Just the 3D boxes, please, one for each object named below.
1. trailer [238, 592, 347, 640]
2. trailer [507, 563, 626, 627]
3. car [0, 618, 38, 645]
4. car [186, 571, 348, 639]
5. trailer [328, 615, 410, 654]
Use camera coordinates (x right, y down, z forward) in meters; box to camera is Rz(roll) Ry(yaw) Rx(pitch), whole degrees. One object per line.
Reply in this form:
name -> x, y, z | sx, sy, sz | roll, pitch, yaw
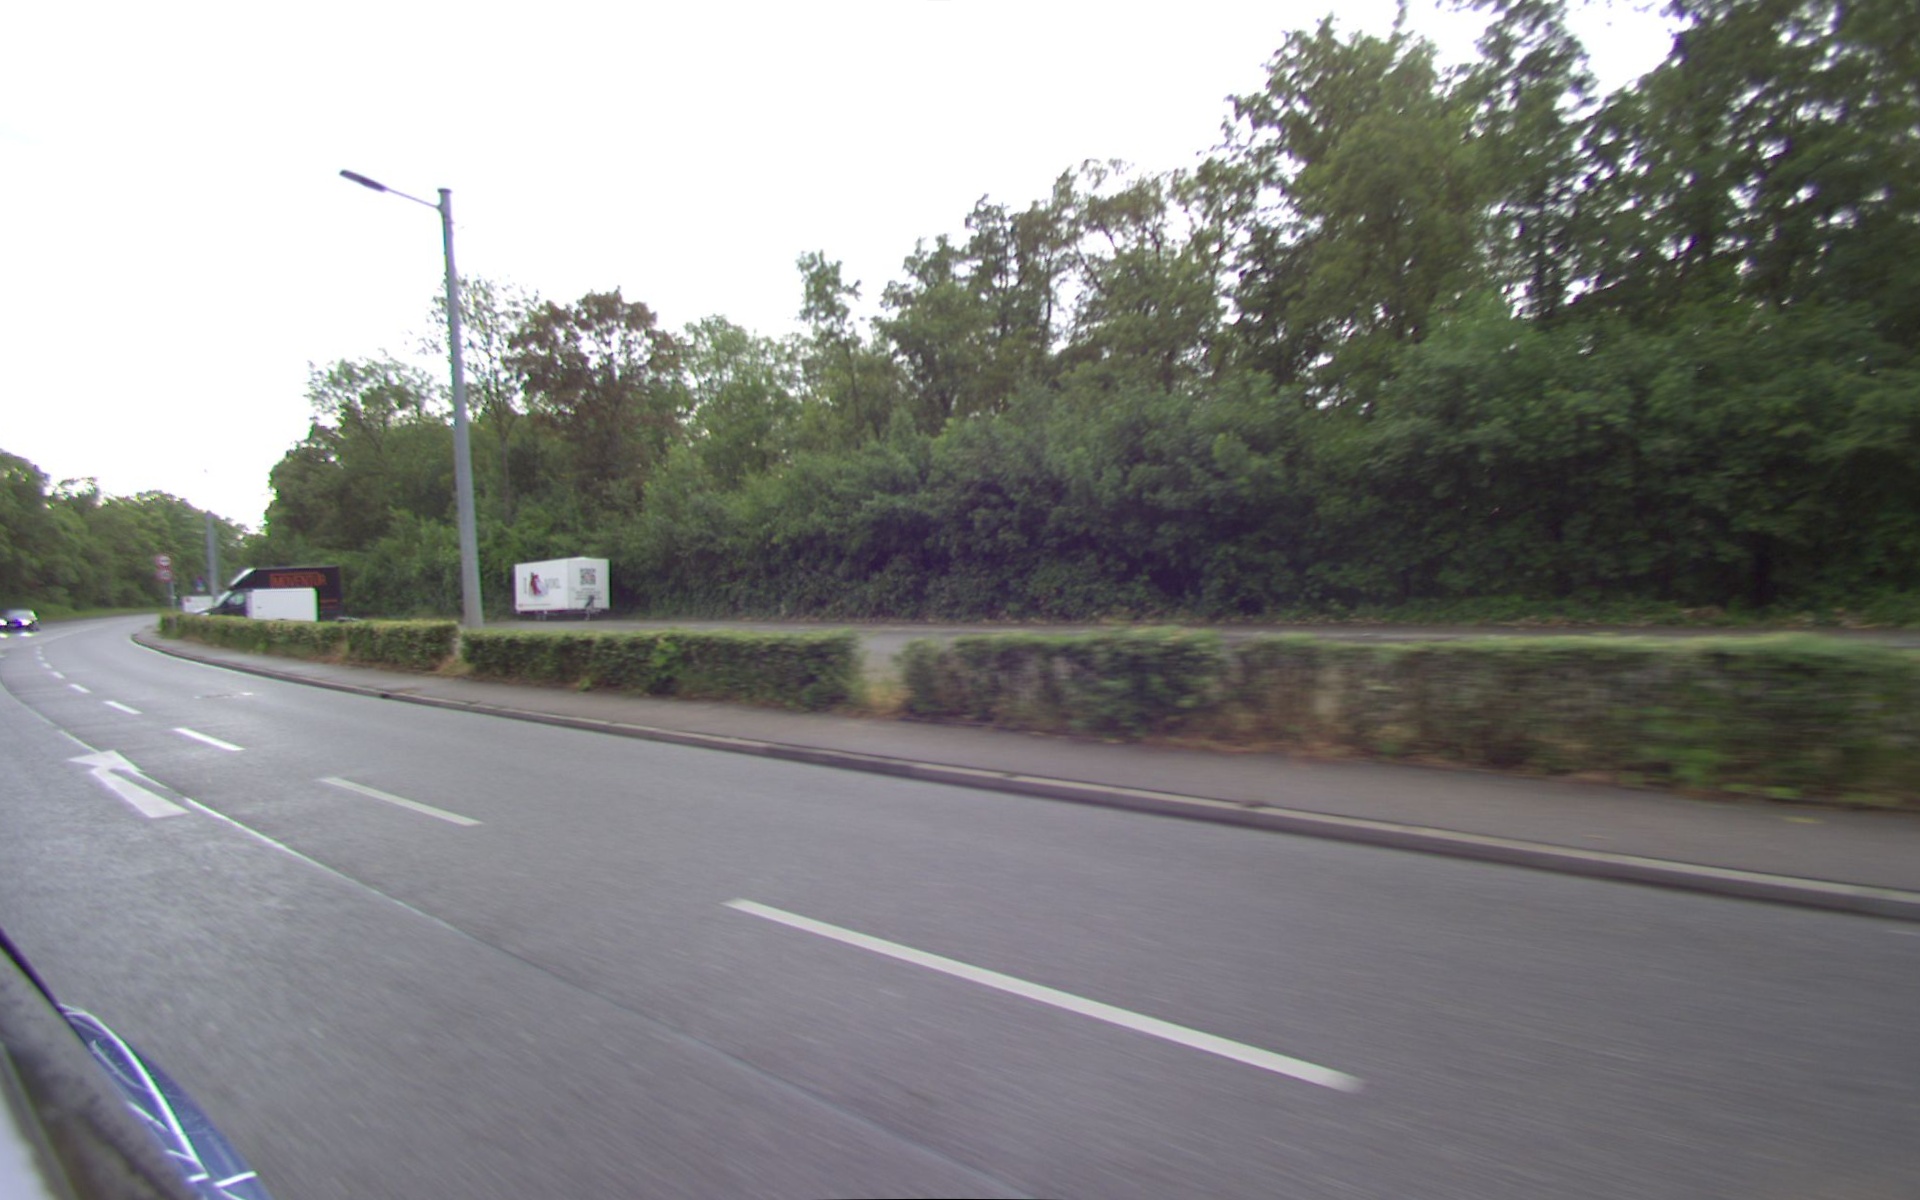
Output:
trailer -> -30.664, 0.712, 46.567 | 3.939, 2.068, 1.875 | -2, 1, -42
trailer -> -19.400, -0.223, 49.550 | 2.447, 2.895, 7.982 | -1, 0, -45
car -> -62.787, 2.076, 67.167 | 1.967, 1.696, 4.009 | -1, 1, -37
car -> -34.466, 0.159, 50.482 | 6.200, 3.136, 2.754 | -2, 2, -45
trailer -> -17.724, 1.018, 30.351 | 1.333, 1.042, 1.782 | -1, 1, 42
